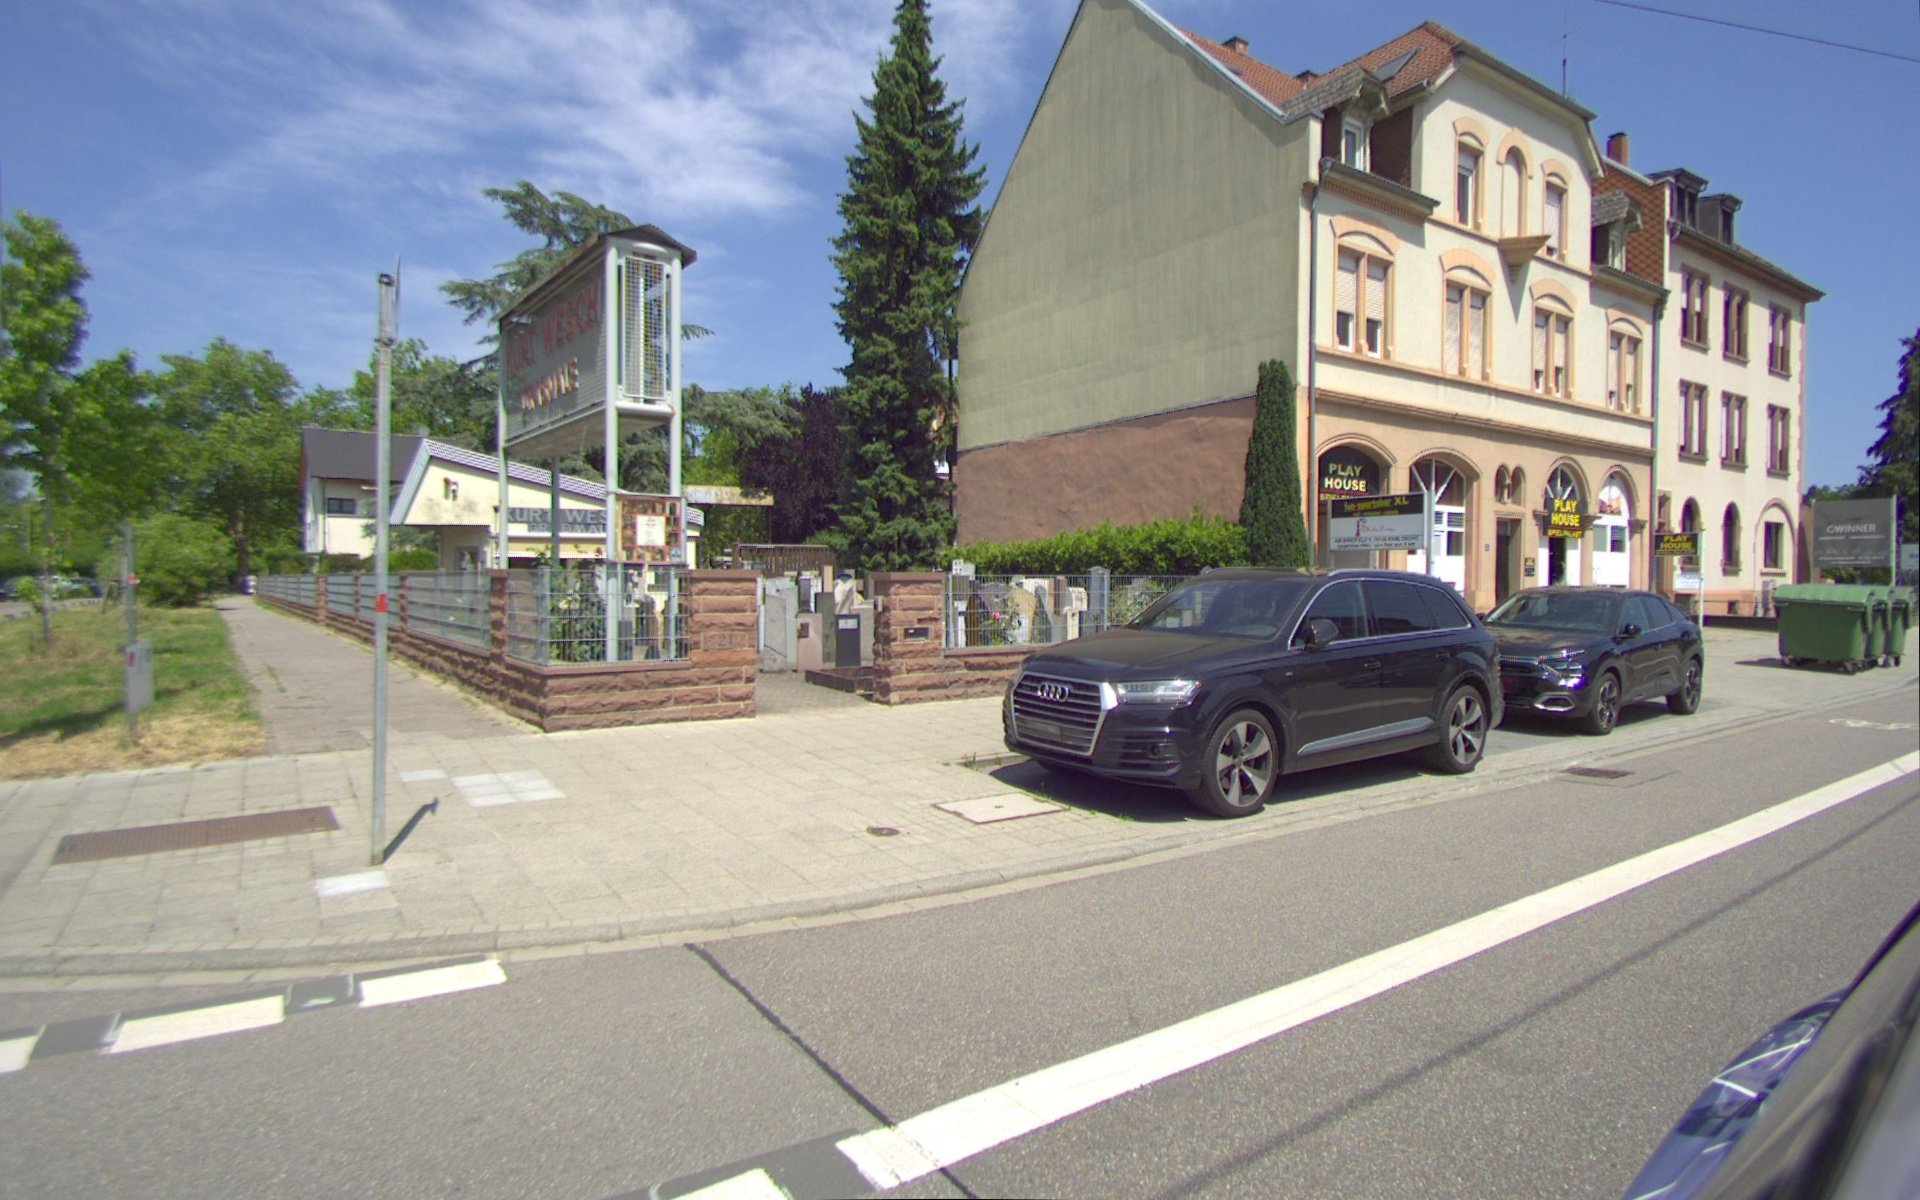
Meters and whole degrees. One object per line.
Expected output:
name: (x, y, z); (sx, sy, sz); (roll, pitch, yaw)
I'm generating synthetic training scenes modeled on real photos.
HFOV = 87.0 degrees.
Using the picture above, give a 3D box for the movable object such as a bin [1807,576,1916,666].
movable object such as a bin: (15.966, 0.332, 17.930); (1.039, 1.472, 1.250); (-1, 3, -40)

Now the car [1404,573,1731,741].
car: (7.279, 0.506, 11.970); (4.385, 1.567, 1.778); (-2, 4, -37)

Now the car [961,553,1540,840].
car: (2.590, 0.504, 8.354); (4.987, 1.713, 1.931); (-1, 3, -36)

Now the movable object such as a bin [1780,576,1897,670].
movable object such as a bin: (15.066, 0.359, 17.373); (1.039, 1.472, 1.326); (-1, 4, -40)

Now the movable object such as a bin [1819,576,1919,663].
movable object such as a bin: (16.824, 0.317, 18.572); (1.119, 1.472, 1.395); (-1, 4, -40)
